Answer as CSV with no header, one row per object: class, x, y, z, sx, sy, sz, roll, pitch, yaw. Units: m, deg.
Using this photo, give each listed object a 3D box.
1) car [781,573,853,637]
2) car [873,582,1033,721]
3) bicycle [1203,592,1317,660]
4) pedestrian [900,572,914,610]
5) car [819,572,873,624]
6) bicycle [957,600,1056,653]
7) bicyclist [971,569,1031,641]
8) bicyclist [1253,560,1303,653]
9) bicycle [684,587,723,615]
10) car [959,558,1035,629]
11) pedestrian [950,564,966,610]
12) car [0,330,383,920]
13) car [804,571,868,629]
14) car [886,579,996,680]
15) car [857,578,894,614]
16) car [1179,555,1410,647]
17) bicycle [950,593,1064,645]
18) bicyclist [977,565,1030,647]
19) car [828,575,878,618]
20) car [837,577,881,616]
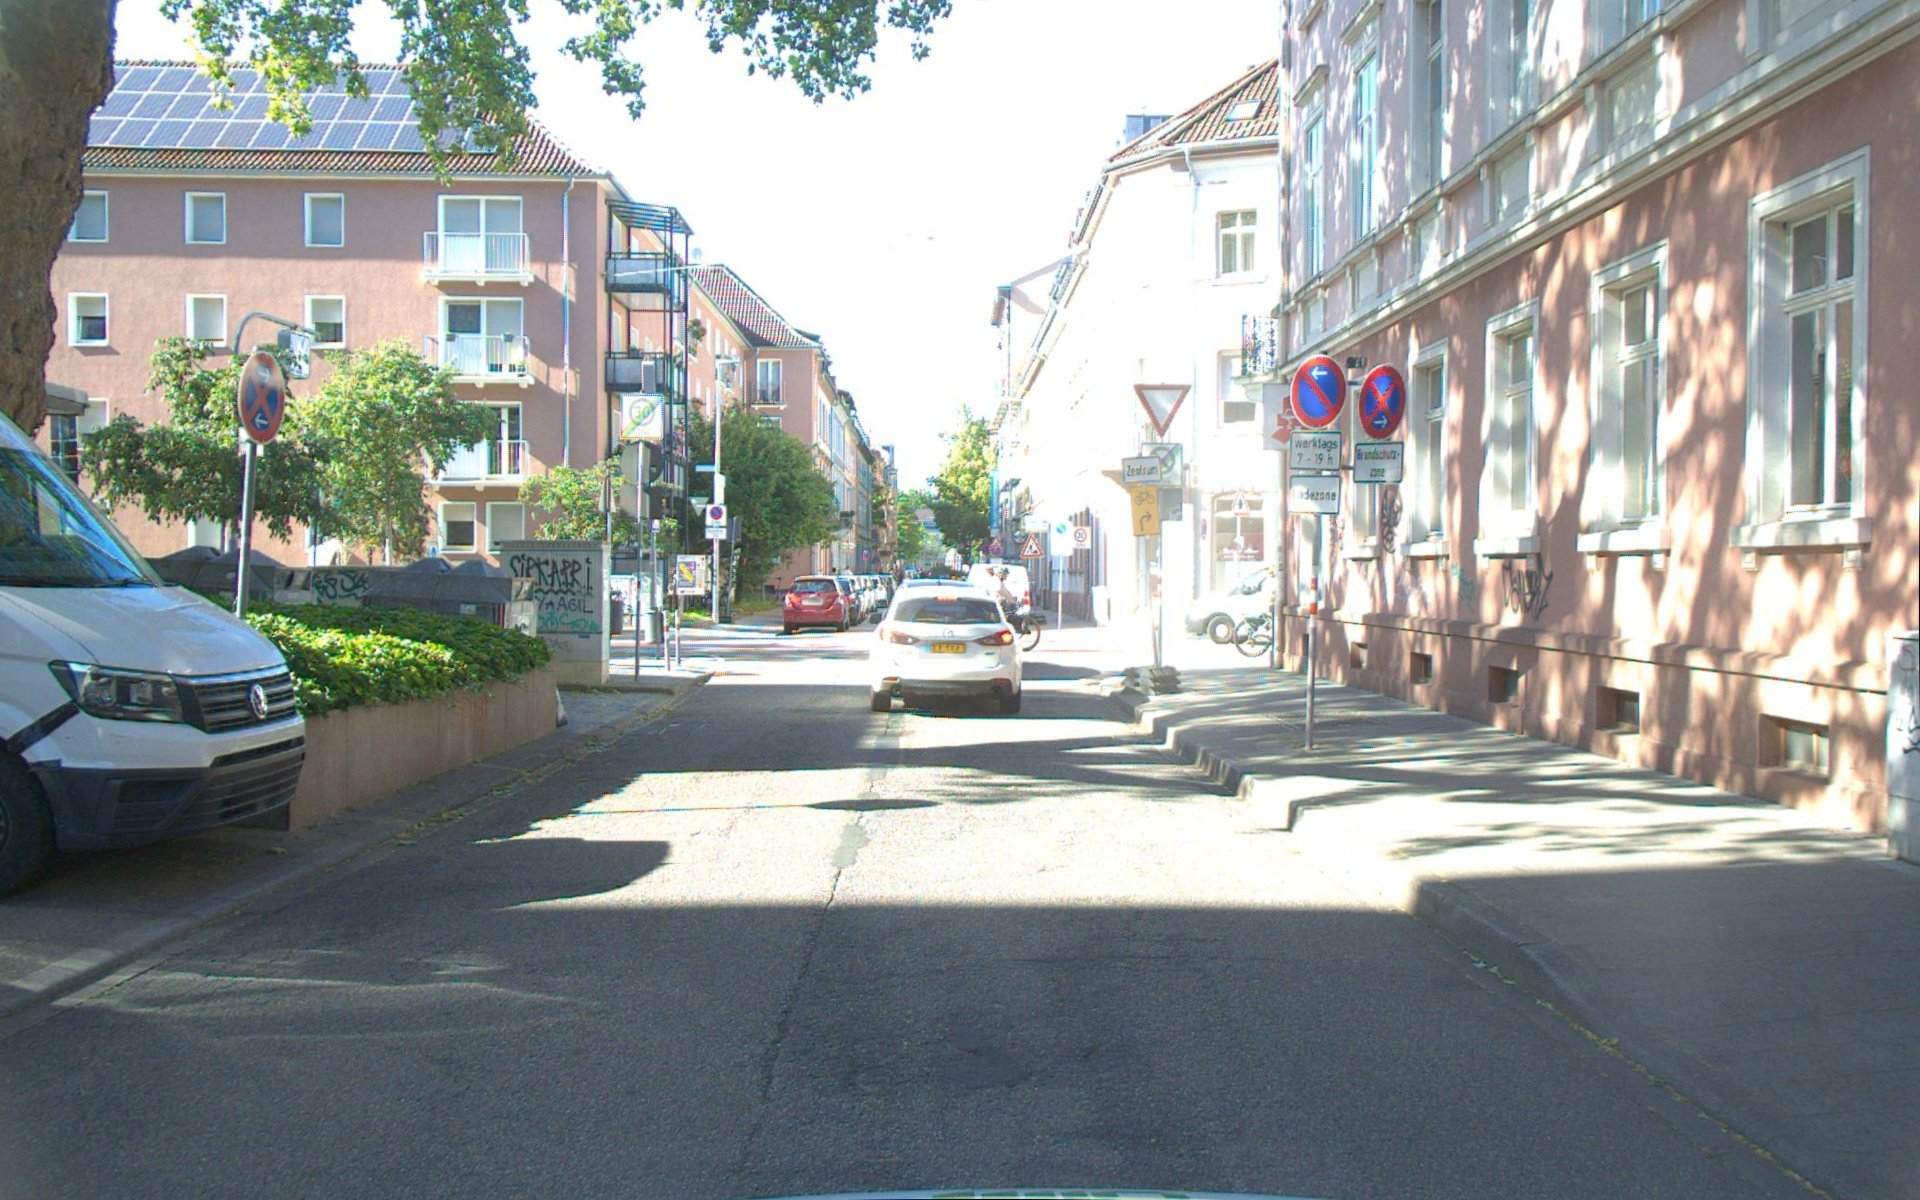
car,-3.881,0.095,45.323,1.734,1.616,3.725,0,2,-1
car,-0.123,0.562,20.507,1.787,1.540,3.823,1,1,-2
bicycle,5.738,0.490,31.682,2.117,1.277,0.834,0,0,9
pedestrian,-2.586,-0.420,80.190,0.634,1.828,0.639,0,0,0
car,-3.856,-0.067,56.436,1.602,1.685,3.785,0,0,0
bicycle,0.913,0.516,32.516,1.889,1.003,0.663,0,0,-4
bicyclist,0.894,0.110,36.051,1.170,1.543,0.841,0,0,12
bicyclist,6.079,0.128,31.661,0.905,1.750,0.943,0,0,10
bicycle,-8.777,0.031,56.523,0.598,0.948,1.893,0,0,-33
car,1.043,-0.198,48.625,1.904,1.982,4.076,1,1,-3
pedestrian,-0.105,-0.612,78.595,0.755,2.155,0.834,0,0,0
car,-6.710,-0.042,8.510,6.601,2.599,2.146,3,0,1
car,-3.774,-0.016,50.923,1.685,1.712,3.726,0,0,0
car,-0.325,0.424,26.648,1.648,1.507,3.660,0,1,-2
car,-3.944,-0.193,77.542,1.540,1.613,3.611,0,0,0
car,7.569,0.021,37.418,4.791,1.962,1.999,1,-1,24
bicycle,1.024,0.409,36.043,2.373,1.098,0.791,0,0,11
bicyclist,0.857,0.119,32.521,0.963,1.580,0.760,0,0,-5
car,-4.069,-0.128,63.218,1.685,1.604,3.726,0,0,0
car,-4.089,-0.140,67.230,1.569,1.503,3.567,0,0,0
